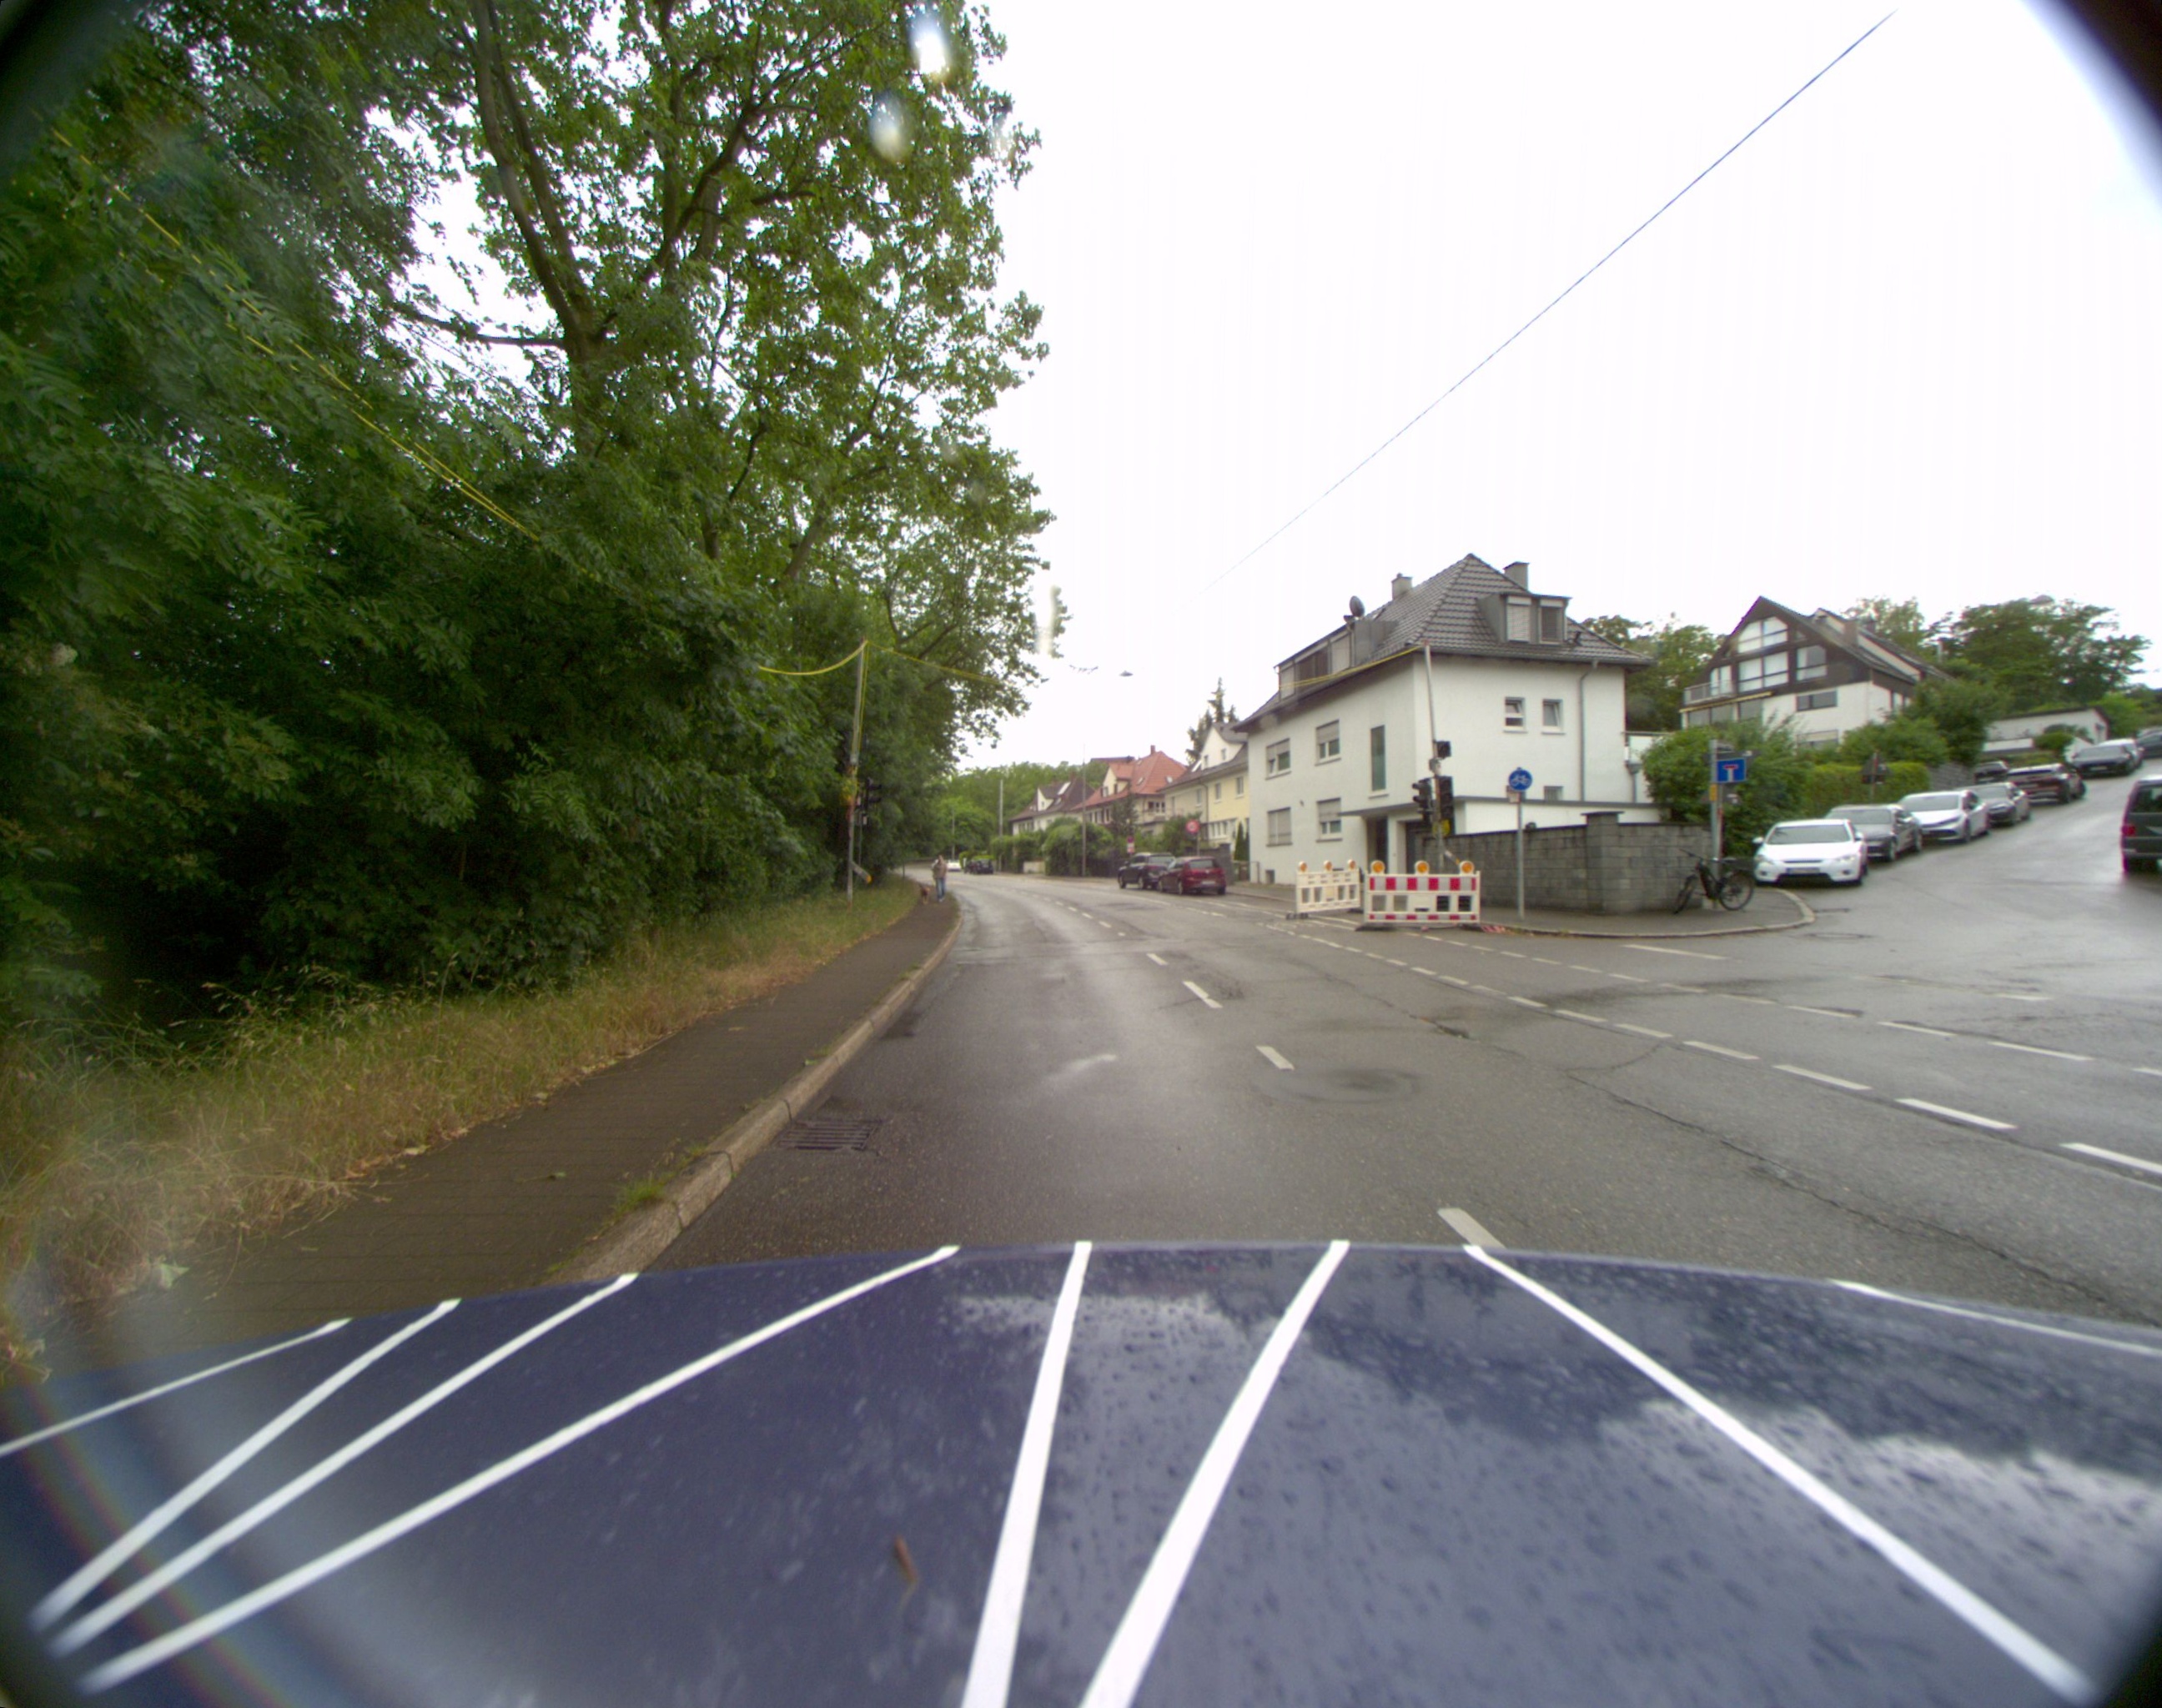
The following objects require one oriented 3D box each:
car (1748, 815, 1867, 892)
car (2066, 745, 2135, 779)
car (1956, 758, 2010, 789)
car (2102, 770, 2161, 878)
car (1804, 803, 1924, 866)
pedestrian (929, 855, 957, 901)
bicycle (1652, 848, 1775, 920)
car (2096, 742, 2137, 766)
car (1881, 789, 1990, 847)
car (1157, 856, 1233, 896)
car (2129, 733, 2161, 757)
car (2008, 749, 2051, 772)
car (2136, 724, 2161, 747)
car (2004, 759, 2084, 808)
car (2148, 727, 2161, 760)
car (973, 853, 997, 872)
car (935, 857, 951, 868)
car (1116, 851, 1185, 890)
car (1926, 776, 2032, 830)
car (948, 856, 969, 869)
[{"bbox_3d":[17.781,-0.055,18.538,4.126,1.455,1.849,-7,4,-43],"label":"car"},{"bbox_3d":[54.818,-4.897,40.843,4.034,1.511,1.786,-2,0,-31],"label":"car"},{"bbox_3d":[52.871,-4.666,44.519,4.020,1.545,1.812,-3,1,-37],"label":"car"},{"bbox_3d":[23.888,-0.760,16.263,4.497,2.003,1.996,-7,3,-31],"label":"car"},{"bbox_3d":[22.468,-0.566,21.760,3.910,1.380,1.719,-7,3,-34],"label":"car"},{"bbox_3d":[-4.673,0.797,25.796,0.735,1.490,0.785,-3,1,-1],"label":"pedestrian"},{"bbox_3d":[11.593,0.532,13.936,2.006,1.232,0.510,-2,3,-8],"label":"bicycle"},{"bbox_3d":[59.840,-5.761,43.900,2.988,1.191,1.305,-6,3,-35],"label":"car"},{"bbox_3d":[27.274,-1.162,24.233,3.951,1.462,1.755,-7,3,-33],"label":"car"},{"bbox_3d":[4.388,0.816,29.906,1.787,1.423,3.844,-2,0,-10],"label":"car"},{"bbox_3d":[68.327,-6.958,47.700,1.286,1.310,2.945,-3,1,-36],"label":"car"},{"bbox_3d":[57.242,-5.656,45.867,3.656,1.205,1.577,-7,3,-38],"label":"car"},{"bbox_3d":[81.120,-8.892,55.962,1.754,1.508,3.961,-3,1,-35],"label":"car"},{"bbox_3d":[40.723,-2.996,32.114,4.004,1.617,1.638,-8,4,-32],"label":"car"},{"bbox_3d":[72.467,-7.470,48.984,2.003,2.000,3.993,-2,-4,-32],"label":"car"},{"bbox_3d":[-9.604,0.847,75.956,1.882,1.814,4.121,-2,0,-14],"label":"car"},{"bbox_3d":[-18.738,1.141,103.013,1.691,1.419,3.770,-2,0,-17],"label":"car"},{"bbox_3d":[3.135,0.731,35.034,1.798,1.630,4.150,-1,0,-15],"label":"car"},{"bbox_3d":[32.331,-1.842,27.335,4.111,1.430,1.921,-9,4,-33],"label":"car"},{"bbox_3d":[-15.230,1.079,94.177,2.071,1.477,4.556,-2,0,-16],"label":"car"}]
